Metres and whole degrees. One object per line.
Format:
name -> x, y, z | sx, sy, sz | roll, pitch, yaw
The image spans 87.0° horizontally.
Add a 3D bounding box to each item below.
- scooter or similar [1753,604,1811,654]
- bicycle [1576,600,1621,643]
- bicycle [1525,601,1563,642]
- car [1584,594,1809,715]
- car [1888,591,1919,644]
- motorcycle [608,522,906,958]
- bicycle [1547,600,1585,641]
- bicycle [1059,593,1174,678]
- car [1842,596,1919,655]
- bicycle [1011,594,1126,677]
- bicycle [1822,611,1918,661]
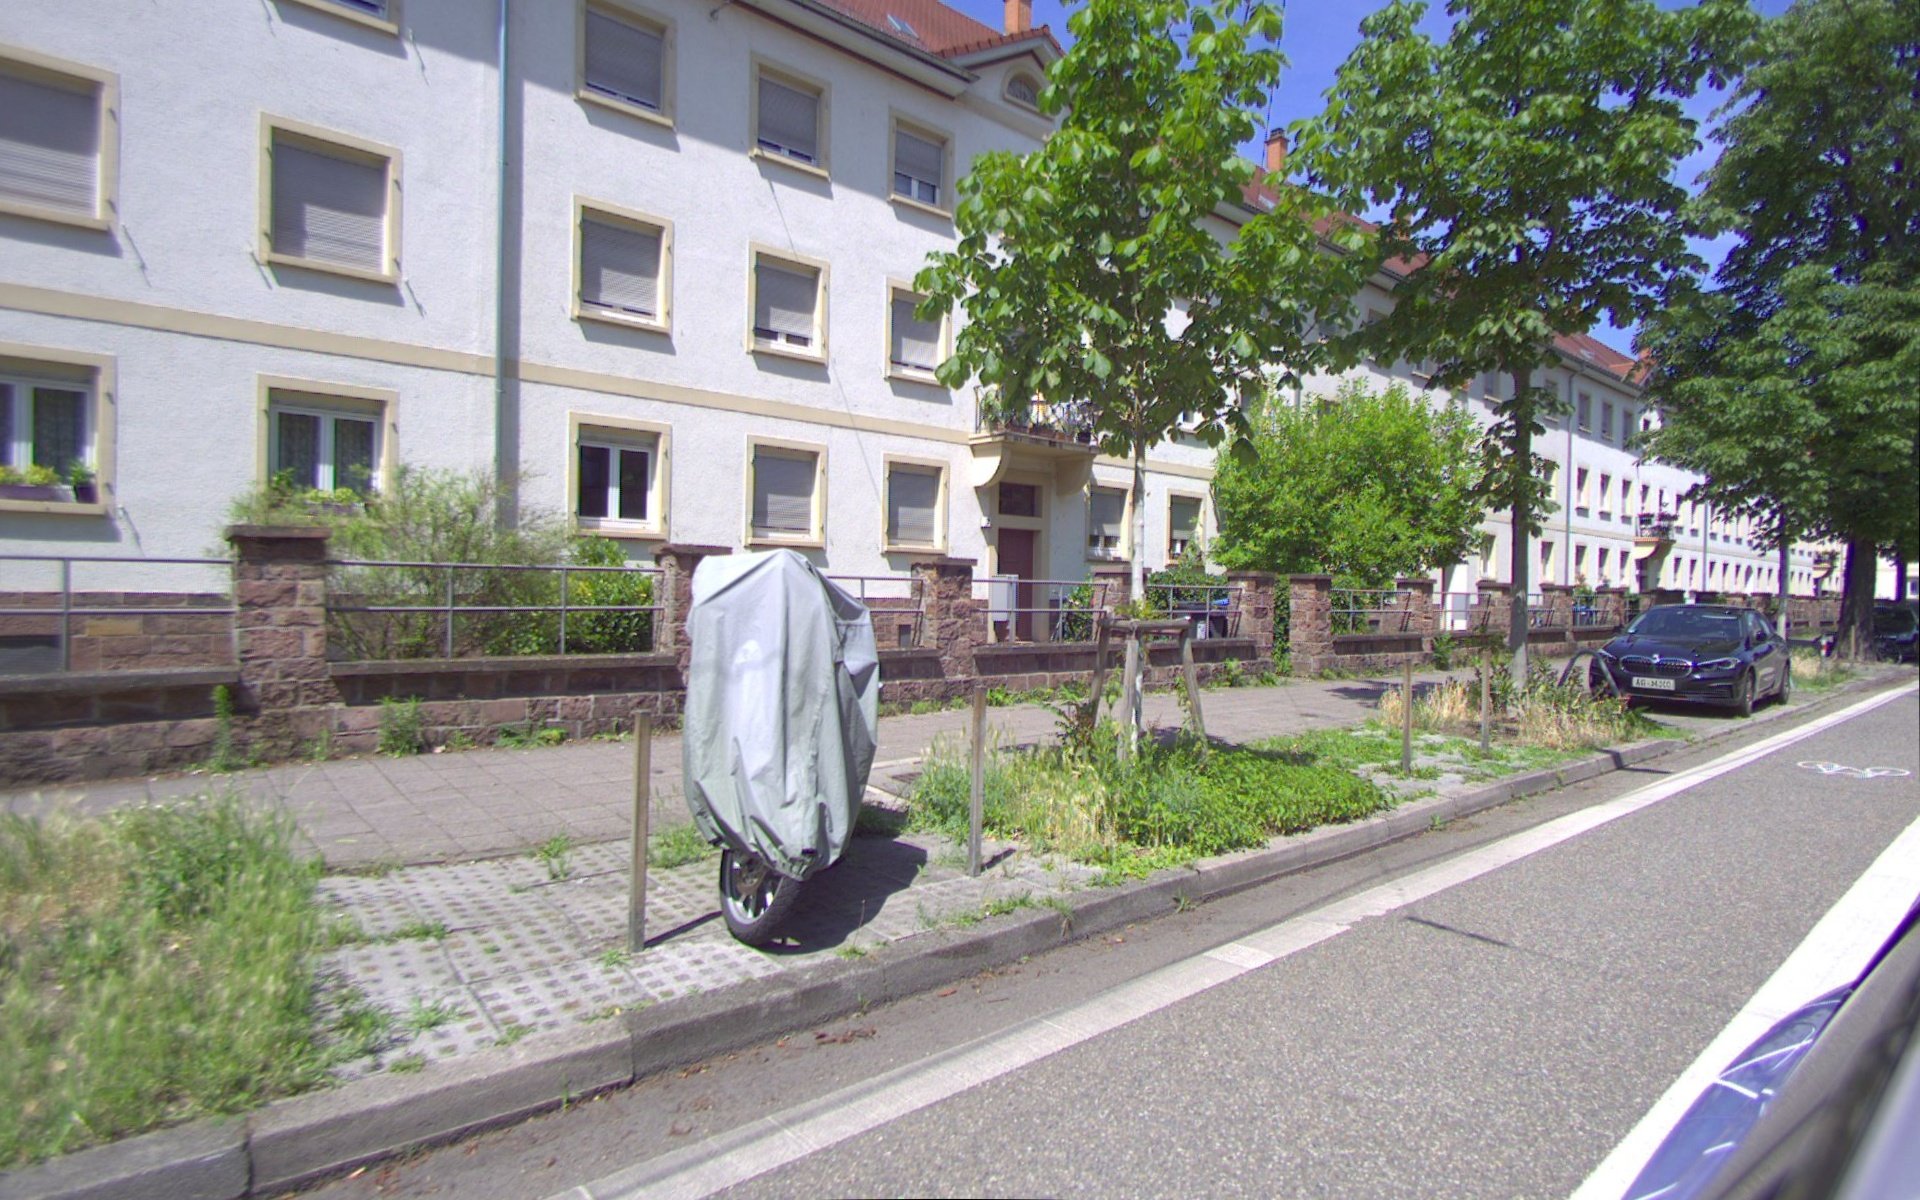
scooter or similar -> 20.372, 0.717, 25.086 | 1.222, 1.228, 0.381 | 1, 0, -10
bicycle -> 17.092, 0.558, 27.067 | 1.890, 1.091, 0.479 | 0, 1, -41
bicycle -> 16.281, 0.571, 28.182 | 0.478, 1.091, 1.894 | 1, 1, 44
car -> 10.845, 0.691, 14.758 | 4.780, 1.444, 1.771 | 1, 1, -43
car -> 32.570, 0.610, 33.483 | 4.789, 1.671, 1.953 | 1, 1, -38
motorcycle -> -0.800, 0.492, 4.831 | 0.853, 1.560, 2.319 | 1, 0, 2
bicycle -> 16.656, 0.545, 27.805 | 0.478, 1.091, 1.894 | 1, 1, 43
bicycle -> 2.208, 0.475, 14.136 | 1.773, 1.116, 0.500 | 1, 1, -38
car -> 25.038, 0.663, 27.108 | 4.283, 1.436, 1.696 | 1, 1, -43
bicycle -> 1.569, 0.484, 14.490 | 1.773, 1.116, 0.500 | 1, 1, -38
bicycle -> 21.713, 0.849, 24.175 | 1.652, 1.091, 0.597 | 2, 1, 43
